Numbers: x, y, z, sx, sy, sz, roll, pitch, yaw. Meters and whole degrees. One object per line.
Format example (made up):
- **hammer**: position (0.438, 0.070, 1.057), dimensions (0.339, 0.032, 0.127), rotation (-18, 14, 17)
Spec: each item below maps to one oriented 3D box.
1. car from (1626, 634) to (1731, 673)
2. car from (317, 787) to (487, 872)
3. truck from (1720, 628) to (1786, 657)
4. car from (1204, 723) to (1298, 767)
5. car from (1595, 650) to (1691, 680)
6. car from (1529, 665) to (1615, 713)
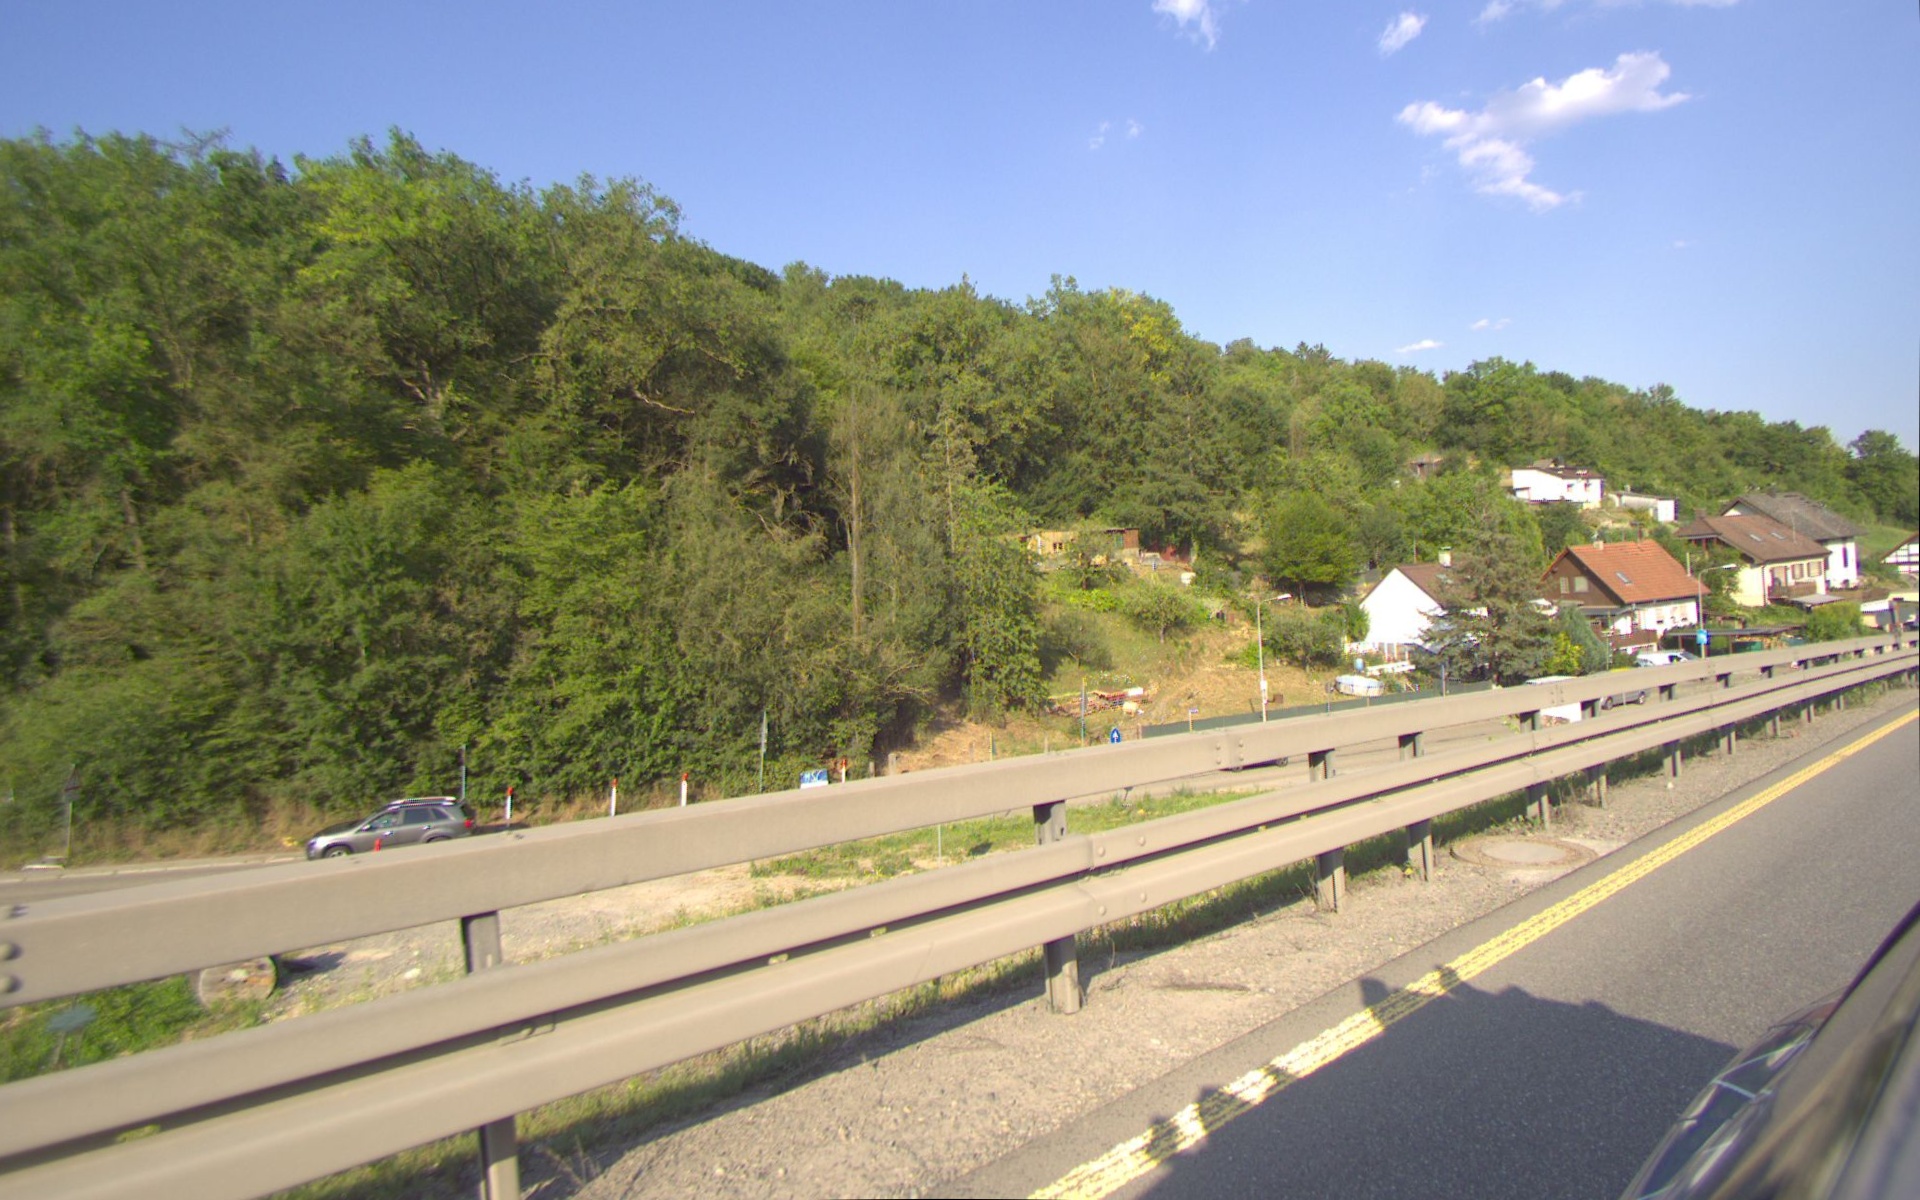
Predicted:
- **car**: position (49.022, 3.623, 69.171), dimensions (1.960, 2.292, 5.490), rotation (-2, 1, -29)
- **car**: position (-16.990, 6.980, 31.083), dimensions (4.405, 1.807, 1.872), rotation (0, 0, -23)
- **truck**: position (57.859, 3.077, 73.952), dimensions (1.969, 1.760, 3.986), rotation (-7, -2, 11)
- **car**: position (12.751, 6.318, 44.346), dimensions (3.541, 1.619, 1.776), rotation (0, -3, -20)
- **car**: position (45.644, 4.296, 67.738), dimensions (1.681, 1.576, 5.112), rotation (-2, 1, -29)
- **car**: position (33.975, 4.904, 56.174), dimensions (4.952, 2.010, 1.871), rotation (-3, 2, -29)
